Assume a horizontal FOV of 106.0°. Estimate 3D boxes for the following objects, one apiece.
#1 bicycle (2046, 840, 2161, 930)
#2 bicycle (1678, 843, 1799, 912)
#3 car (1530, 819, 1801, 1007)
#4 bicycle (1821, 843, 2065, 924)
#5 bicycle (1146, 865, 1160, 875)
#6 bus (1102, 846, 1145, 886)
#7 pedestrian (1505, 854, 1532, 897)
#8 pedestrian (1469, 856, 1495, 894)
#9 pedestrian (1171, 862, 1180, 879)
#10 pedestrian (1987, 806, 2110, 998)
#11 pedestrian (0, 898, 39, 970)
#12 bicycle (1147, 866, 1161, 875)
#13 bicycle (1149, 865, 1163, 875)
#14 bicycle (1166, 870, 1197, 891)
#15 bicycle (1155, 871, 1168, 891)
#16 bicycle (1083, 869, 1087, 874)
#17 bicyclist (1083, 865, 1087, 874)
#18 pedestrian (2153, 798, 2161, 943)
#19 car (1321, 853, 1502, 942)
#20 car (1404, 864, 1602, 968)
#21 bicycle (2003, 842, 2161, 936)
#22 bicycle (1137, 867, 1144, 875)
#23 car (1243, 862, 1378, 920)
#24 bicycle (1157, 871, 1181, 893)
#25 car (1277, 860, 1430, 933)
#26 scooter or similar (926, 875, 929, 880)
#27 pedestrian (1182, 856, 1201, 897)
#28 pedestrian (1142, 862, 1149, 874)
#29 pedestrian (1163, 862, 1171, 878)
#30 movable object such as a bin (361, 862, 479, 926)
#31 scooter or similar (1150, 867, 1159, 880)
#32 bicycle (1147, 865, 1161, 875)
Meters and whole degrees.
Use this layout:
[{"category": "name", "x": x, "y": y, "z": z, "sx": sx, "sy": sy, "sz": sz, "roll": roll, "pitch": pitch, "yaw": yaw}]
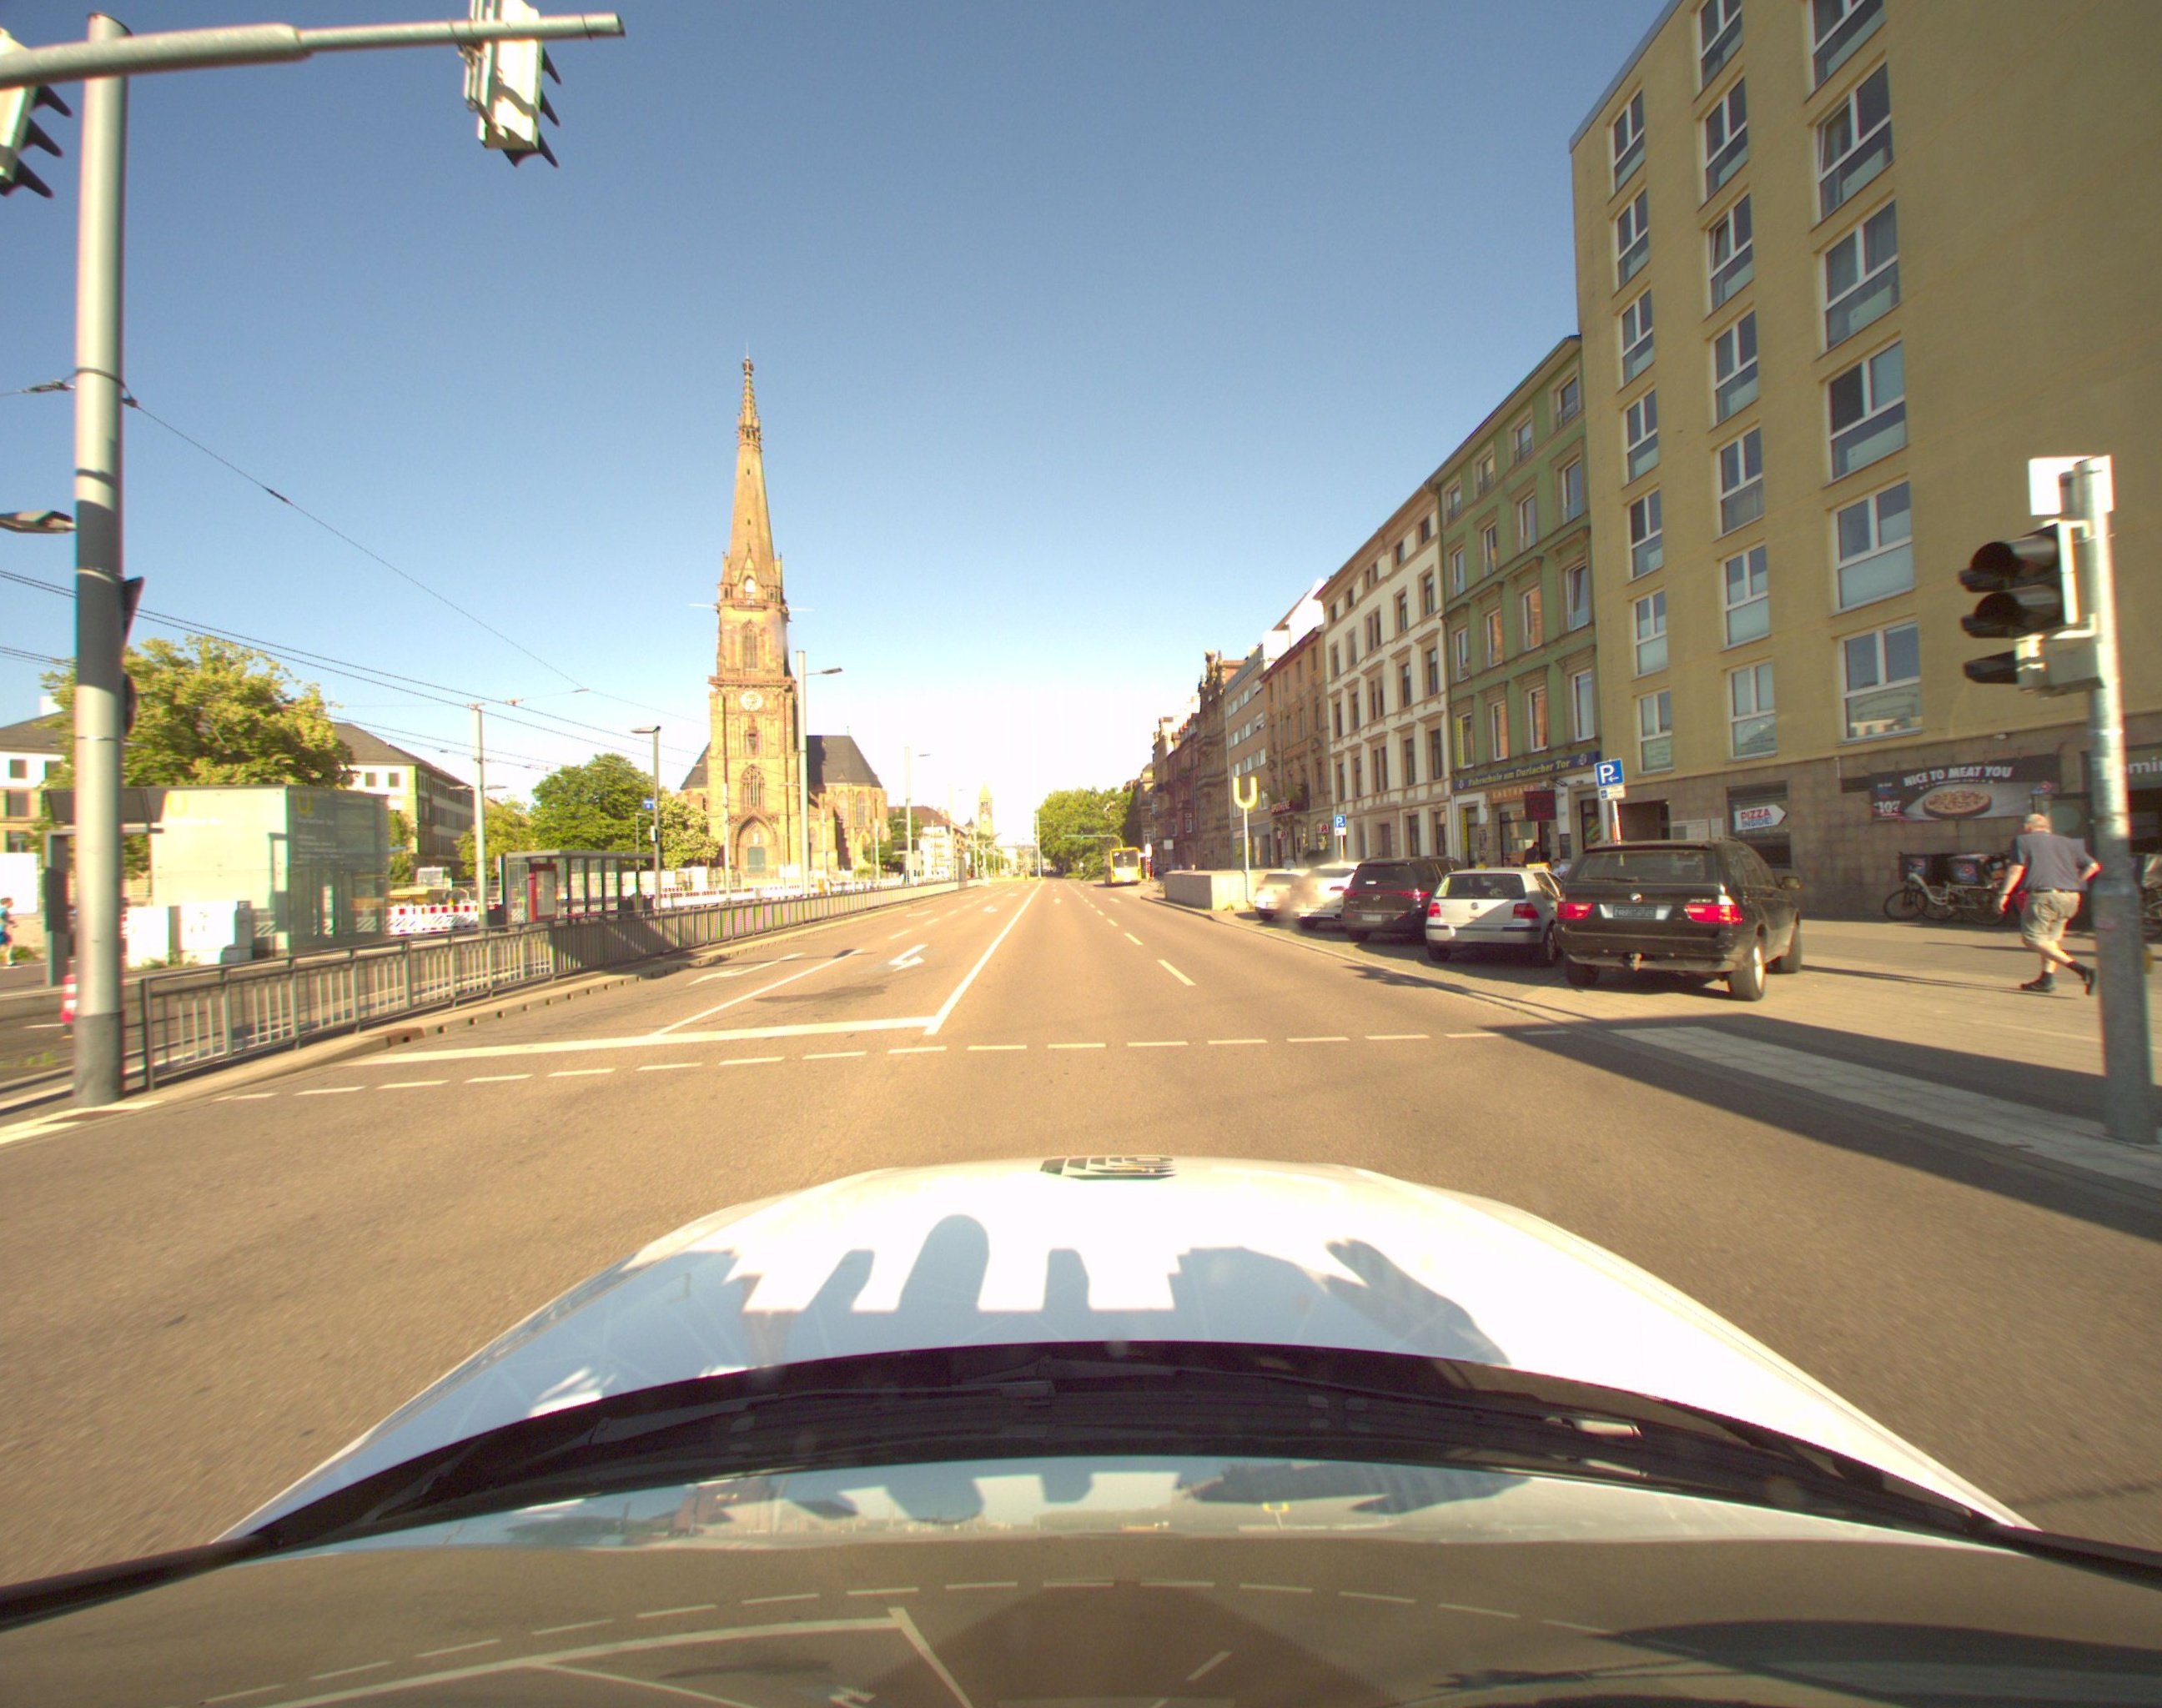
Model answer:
[{"category": "bicycle", "x": 15.641, "y": 0.434, "z": 11.693, "sx": 0.656, "sy": 1.248, "sz": 2.295, "roll": -3, "pitch": -1, "yaw": -4}, {"category": "bicycle", "x": 14.752, "y": 0.488, "z": 18.379, "sx": 0.926, "sy": 1.357, "sz": 2.230, "roll": -3, "pitch": 2, "yaw": 1}, {"category": "car", "x": 7.349, "y": 0.588, "z": 10.070, "sx": 4.275, "sy": 1.814, "sz": 1.936, "roll": 0, "pitch": -1, "yaw": -44}, {"category": "bicycle", "x": 15.195, "y": 0.493, "z": 14.573, "sx": 0.983, "sy": 1.264, "sz": 3.058, "roll": -2, "pitch": -1, "yaw": -3}, {"category": "bicycle", "x": 10.453, "y": 2.330, "z": 117.891, "sx": 1.886, "sy": 1.239, "sz": 0.488, "roll": -3, "pitch": -2, "yaw": -15}, {"category": "bus", "x": 3.748, "y": 1.108, "z": 74.991, "sx": 2.708, "sy": 3.181, "sz": 12.529, "roll": -3, "pitch": -1, "yaw": -2}, {"category": "pedestrian", "x": 13.744, "y": 0.681, "z": 25.583, "sx": 0.512, "sy": 1.319, "sz": 0.592, "roll": -2, "pitch": -1, "yaw": 4}, {"category": "pedestrian", "x": 13.994, "y": 0.728, "z": 28.404, "sx": 0.515, "sy": 1.319, "sz": 0.590, "roll": -2, "pitch": -1, "yaw": -10}, {"category": "pedestrian", "x": 11.214, "y": 1.988, "z": 97.126, "sx": 0.820, "sy": 1.930, "sz": 1.136, "roll": -2, "pitch": -1, "yaw": -3}, {"category": "pedestrian", "x": 9.994, "y": 0.473, "z": 8.444, "sx": 0.757, "sy": 1.866, "sz": 0.689, "roll": -1, "pitch": -1, "yaw": -44}, {"category": "pedestrian", "x": -27.583, "y": 2.059, "z": 20.594, "sx": 0.800, "sy": 1.768, "sz": 1.179, "roll": -3, "pitch": 2, "yaw": -3}, {"category": "bicycle", "x": 10.509, "y": 2.347, "z": 117.306, "sx": 1.886, "sy": 1.239, "sz": 0.488, "roll": -3, "pitch": -2, "yaw": -15}, {"category": "bicycle", "x": 10.648, "y": 2.270, "z": 116.159, "sx": 1.886, "sy": 1.239, "sz": 0.488, "roll": -3, "pitch": -2, "yaw": -15}, {"category": "bicycle", "x": 5.946, "y": 1.550, "z": 48.101, "sx": 1.761, "sy": 1.187, "sz": 0.469, "roll": -2, "pitch": 0, "yaw": -3}, {"category": "bicycle", "x": 4.792, "y": 1.582, "z": 48.488, "sx": 0.467, "sy": 1.147, "sz": 1.769, "roll": -1, "pitch": 0, "yaw": -2}, {"category": "bicycle", "x": 0.800, "y": 3.439, "z": 160.983, "sx": 0.640, "sy": 1.048, "sz": 2.357, "roll": -3, "pitch": -2, "yaw": -3}, {"category": "bicyclist", "x": 0.774, "y": 3.014, "z": 161.045, "sx": 0.640, "sy": 1.815, "sz": 1.051, "roll": -3, "pitch": -2, "yaw": -3}, {"category": "pedestrian", "x": 5.763, "y": 0.570, "z": 3.758, "sx": 0.698, "sy": 1.728, "sz": 0.748, "roll": -2, "pitch": -1, "yaw": -19}, {"category": "car", "x": 6.877, "y": 0.793, "z": 16.710, "sx": 1.936, "sy": 1.598, "sz": 4.276, "roll": -2, "pitch": -1, "yaw": 44}, {"category": "car", "x": 6.833, "y": 0.880, "z": 13.009, "sx": 1.766, "sy": 1.399, "sz": 3.916, "roll": -2, "pitch": -2, "yaw": 44}, {"category": "bicycle", "x": 14.906, "y": 0.477, "z": 11.639, "sx": 0.656, "sy": 1.248, "sz": 2.295, "roll": -3, "pitch": -1, "yaw": -4}, {"category": "bicycle", "x": 8.814, "y": 2.526, "z": 120.512, "sx": 0.489, "sy": 1.239, "sz": 1.881, "roll": -3, "pitch": -2, "yaw": -11}, {"category": "car", "x": 6.756, "y": 1.031, "z": 23.759, "sx": 4.136, "sy": 1.464, "sz": 1.937, "roll": -1, "pitch": -2, "yaw": -44}, {"category": "bicycle", "x": 4.922, "y": 1.566, "z": 45.789, "sx": 0.471, "sy": 1.147, "sz": 1.756, "roll": -1, "pitch": 0, "yaw": -25}, {"category": "car", "x": 6.813, "y": 0.958, "z": 20.098, "sx": 1.936, "sy": 1.570, "sz": 4.276, "roll": -2, "pitch": -1, "yaw": 44}, {"category": "scooter or similar", "x": -37.208, "y": 5.639, "z": 197.094, "sx": 0.400, "sy": 1.261, "sz": 1.230, "roll": -3, "pitch": 2, "yaw": -2}, {"category": "pedestrian", "x": 5.608, "y": 1.115, "z": 41.392, "sx": 0.749, "sy": 2.013, "sz": 0.697, "roll": -3, "pitch": 2, "yaw": -2}, {"category": "pedestrian", "x": 8.897, "y": 1.957, "z": 112.062, "sx": 0.701, "sy": 1.656, "sz": 1.136, "roll": -2, "pitch": -1, "yaw": -3}, {"category": "pedestrian", "x": 10.437, "y": 1.976, "z": 98.811, "sx": 0.820, "sy": 1.930, "sz": 1.136, "roll": -2, "pitch": -1, "yaw": -3}, {"category": "movable object such as a bin", "x": -31.143, "y": 1.777, "z": 38.610, "sx": 2.636, "sy": 2.525, "sz": 5.135, "roll": -4, "pitch": 2, "yaw": -20}, {"category": "scooter or similar", "x": 7.113, "y": 1.878, "z": 79.100, "sx": 0.431, "sy": 1.249, "sz": 1.289, "roll": -3, "pitch": -2, "yaw": -12}, {"category": "bicycle", "x": 10.417, "y": 2.325, "z": 116.684, "sx": 1.886, "sy": 1.239, "sz": 0.488, "roll": -3, "pitch": -2, "yaw": -15}]
